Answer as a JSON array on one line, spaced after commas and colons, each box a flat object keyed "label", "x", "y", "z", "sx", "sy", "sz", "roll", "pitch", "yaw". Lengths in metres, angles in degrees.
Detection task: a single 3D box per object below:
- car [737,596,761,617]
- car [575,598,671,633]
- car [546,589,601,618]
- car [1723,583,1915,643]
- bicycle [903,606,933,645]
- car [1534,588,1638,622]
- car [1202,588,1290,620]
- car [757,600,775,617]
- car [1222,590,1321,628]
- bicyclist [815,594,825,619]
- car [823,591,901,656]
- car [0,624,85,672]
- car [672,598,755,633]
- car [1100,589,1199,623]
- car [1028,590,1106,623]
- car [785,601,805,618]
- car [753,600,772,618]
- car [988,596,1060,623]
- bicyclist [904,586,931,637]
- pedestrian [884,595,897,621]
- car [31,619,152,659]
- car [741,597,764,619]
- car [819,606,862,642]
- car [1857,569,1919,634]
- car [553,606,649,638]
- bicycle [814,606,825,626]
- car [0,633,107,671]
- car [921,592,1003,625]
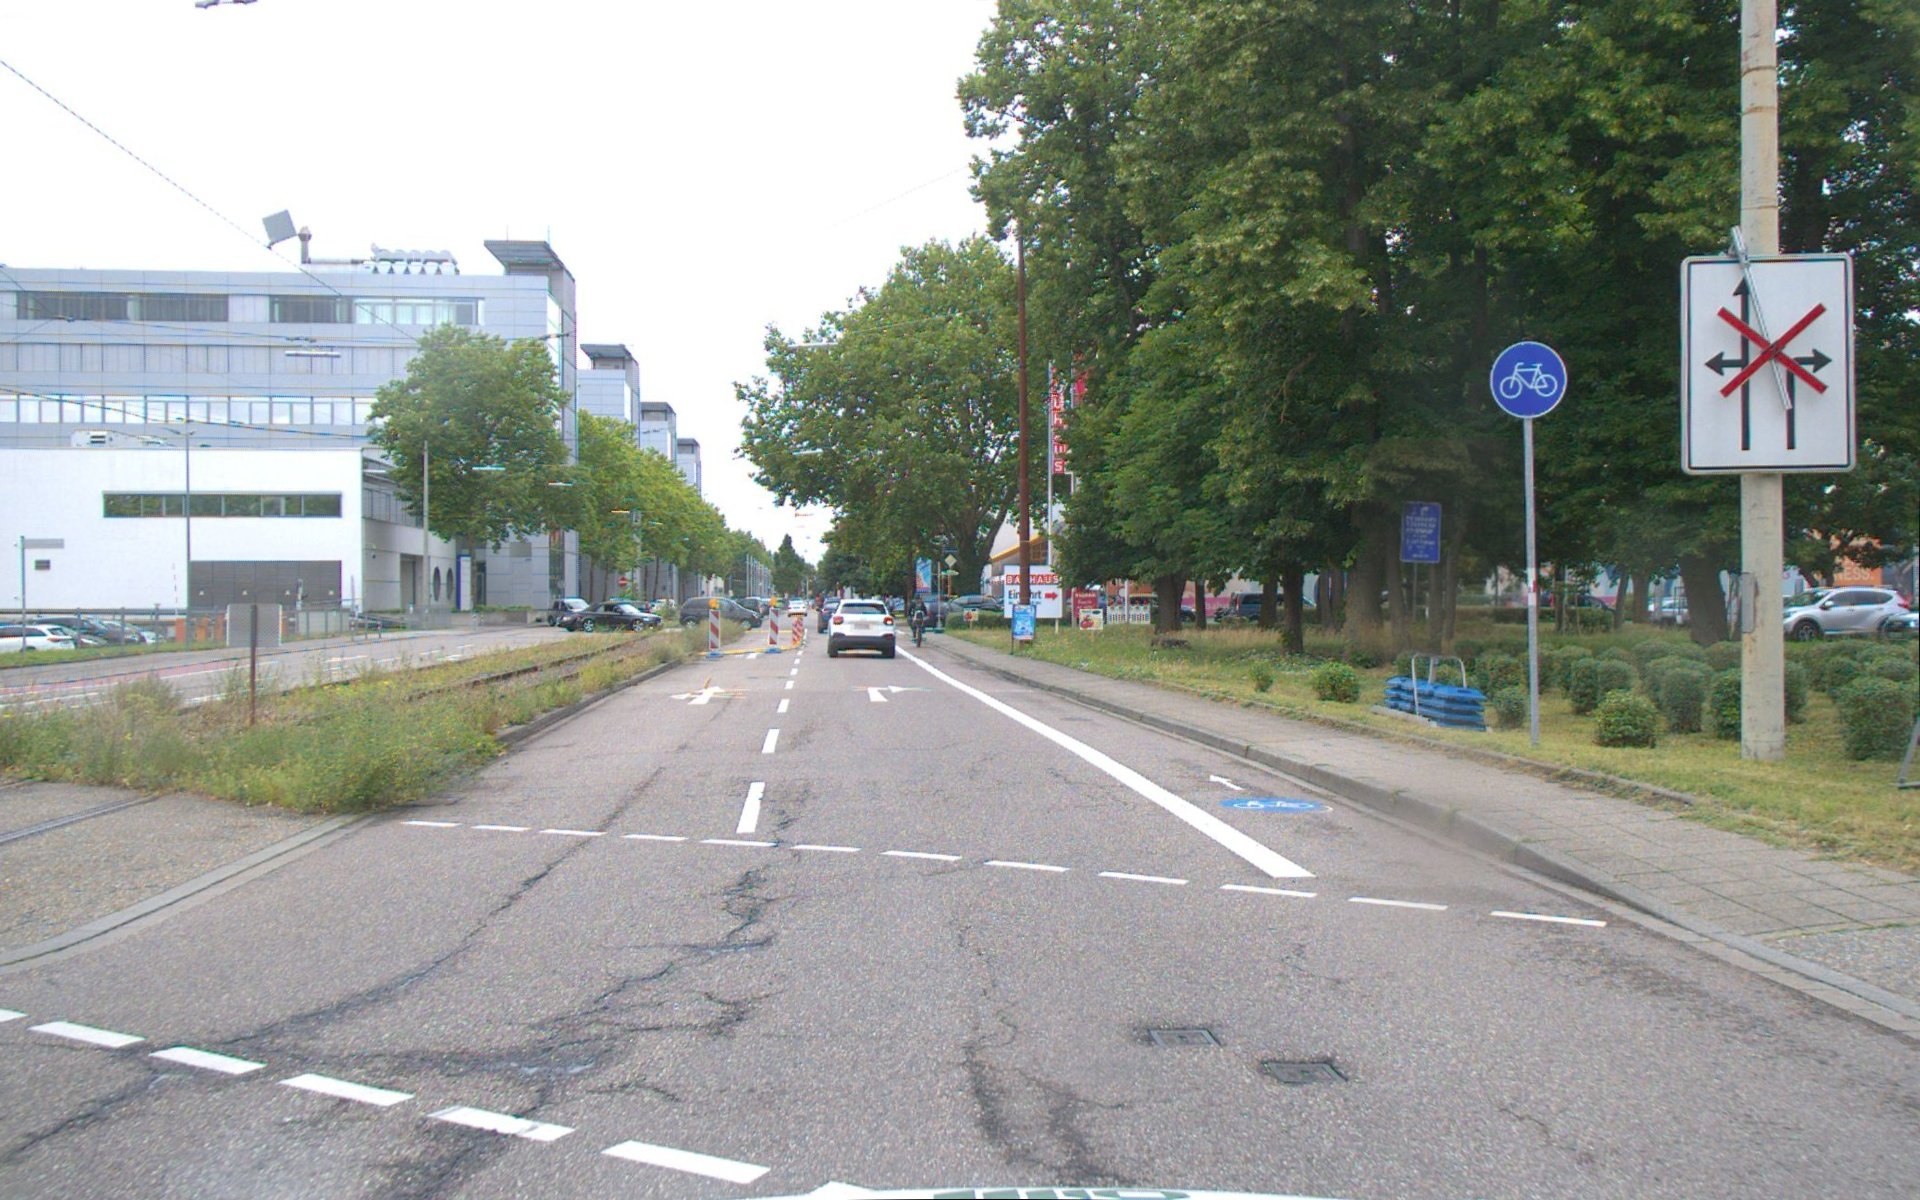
[{"label": "car", "x": -17.073, "y": 0.489, "z": 133.979, "sx": 1.841, "sy": 1.661, "sz": 3.994, "roll": -1, "pitch": 0, "yaw": -6}, {"label": "car", "x": -15.989, "y": 0.759, "z": 78.484, "sx": 4.030, "sy": 1.501, "sz": 1.826, "roll": -2, "pitch": -2, "yaw": 17}, {"label": "car", "x": -25.027, "y": 0.218, "z": 107.013, "sx": 1.807, "sy": 1.814, "sz": 4.364, "roll": -1, "pitch": 0, "yaw": -39}, {"label": "car", "x": 23.737, "y": 0.361, "z": 45.768, "sx": 4.448, "sy": 1.523, "sz": 1.955, "roll": 1, "pitch": -1, "yaw": -10}, {"label": "bicycle", "x": -1.388, "y": 0.829, "z": 54.151, "sx": 0.800, "sy": 1.234, "sz": 2.680, "roll": -1, "pitch": 0, "yaw": -5}, {"label": "car", "x": 31.580, "y": 0.242, "z": 83.462, "sx": 4.465, "sy": 1.599, "sz": 2.071, "roll": -1, "pitch": 0, "yaw": -6}, {"label": "car", "x": 15.853, "y": 0.211, "z": 91.806, "sx": 4.461, "sy": 1.706, "sz": 2.080, "roll": 0, "pitch": 0, "yaw": -2}, {"label": "car", "x": -20.301, "y": 0.882, "z": 173.237, "sx": 1.841, "sy": 1.794, "sz": 3.994, "roll": -1, "pitch": 0, "yaw": -6}, {"label": "car", "x": 15.495, "y": 0.423, "z": 82.310, "sx": 4.464, "sy": 1.821, "sz": 2.071, "roll": 0, "pitch": 1, "yaw": -6}, {"label": "bicyclist", "x": -10.340, "y": 0.497, "z": 121.969, "sx": 0.658, "sy": 1.847, "sz": 0.758, "roll": 1, "pitch": 0, "yaw": -8}, {"label": "car", "x": -2.691, "y": 0.601, "z": 44.710, "sx": 1.789, "sy": 1.628, "sz": 3.769, "roll": 1, "pitch": 0, "yaw": -8}, {"label": "car", "x": -35.008, "y": 1.778, "z": 60.974, "sx": 4.441, "sy": 1.662, "sz": 1.909, "roll": -1, "pitch": 0, "yaw": -8}, {"label": "car", "x": -11.848, "y": 0.751, "z": 79.535, "sx": 3.808, "sy": 1.583, "sz": 1.823, "roll": 1, "pitch": -1, "yaw": -6}, {"label": "car", "x": 9.269, "y": 0.301, "z": 81.097, "sx": 4.465, "sy": 1.599, "sz": 1.990, "roll": -1, "pitch": 0, "yaw": -6}, {"label": "car", "x": 5.754, "y": 0.340, "z": 89.036, "sx": 4.125, "sy": 1.706, "sz": 1.993, "roll": -1, "pitch": 0, "yaw": 2}, {"label": "car", "x": -15.357, "y": 0.884, "z": 153.921, "sx": 1.762, "sy": 1.540, "sz": 3.699, "roll": 1, "pitch": 0, "yaw": -8}, {"label": "car", "x": -20.014, "y": 0.900, "z": 168.033, "sx": 1.841, "sy": 1.794, "sz": 3.994, "roll": -1, "pitch": 0, "yaw": -6}, {"label": "car", "x": 3.859, "y": 0.594, "z": 100.592, "sx": 4.134, "sy": 1.579, "sz": 1.787, "roll": -1, "pitch": 0, "yaw": -8}, {"label": "bicyclist", "x": -1.396, "y": 0.368, "z": 54.150, "sx": 0.800, "sy": 1.659, "sz": 1.234, "roll": -1, "pitch": 0, "yaw": -5}, {"label": "pedestrian", "x": -4.744, "y": 0.565, "z": 113.124, "sx": 0.747, "sy": 1.734, "sz": 0.680, "roll": -1, "pitch": 0, "yaw": -10}, {"label": "car", "x": -35.372, "y": 1.586, "z": 67.461, "sx": 3.912, "sy": 1.511, "sz": 1.909, "roll": -1, "pitch": 0, "yaw": -8}, {"label": "car", "x": -17.526, "y": 0.654, "z": 139.771, "sx": 1.841, "sy": 1.794, "sz": 3.994, "roll": -1, "pitch": 0, "yaw": -6}, {"label": "car", "x": -5.410, "y": 1.057, "z": 74.657, "sx": 1.652, "sy": 1.540, "sz": 3.699, "roll": 1, "pitch": 0, "yaw": -8}, {"label": "car", "x": 24.549, "y": 0.097, "z": 40.026, "sx": 4.585, "sy": 1.523, "sz": 2.167, "roll": 1, "pitch": -1, "yaw": -7}, {"label": "car", "x": -17.729, "y": 1.080, "z": 81.713, "sx": 4.357, "sy": 1.498, "sz": 1.810, "roll": -1, "pitch": 0, "yaw": -26}, {"label": "bicycle", "x": -10.341, "y": 1.166, "z": 121.912, "sx": 0.658, "sy": 1.418, "sz": 2.163, "roll": 1, "pitch": 0, "yaw": -8}, {"label": "car", "x": -35.456, "y": 2.001, "z": 64.000, "sx": 3.912, "sy": 1.337, "sz": 1.909, "roll": -1, "pitch": 0, "yaw": -8}, {"label": "car", "x": 0.084, "y": 0.444, "z": 87.803, "sx": 4.230, "sy": 1.706, "sz": 1.990, "roll": -1, "pitch": 0, "yaw": -5}]
